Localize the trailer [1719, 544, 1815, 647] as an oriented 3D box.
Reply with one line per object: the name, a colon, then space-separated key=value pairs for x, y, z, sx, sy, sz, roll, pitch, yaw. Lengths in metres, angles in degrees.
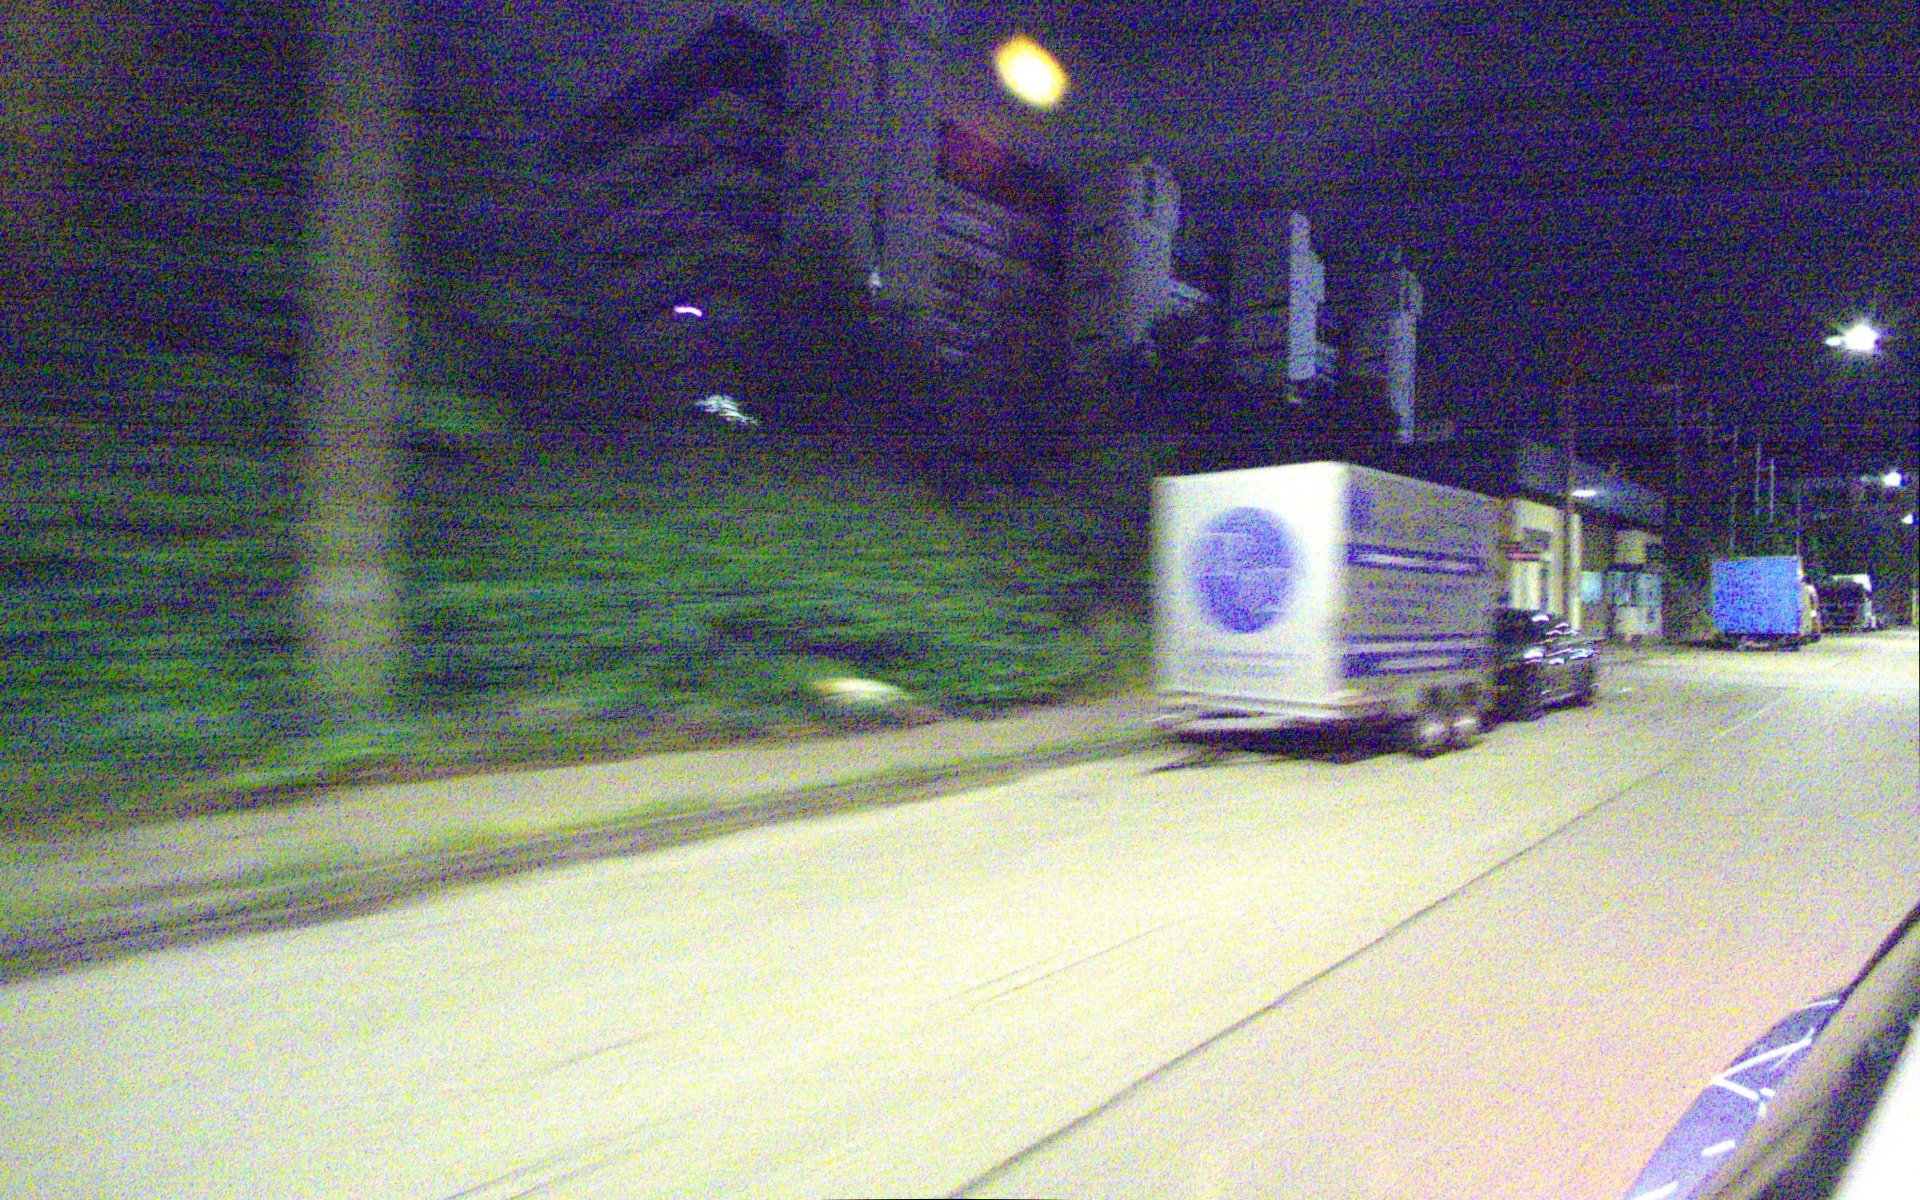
trailer: x=28.327 y=-0.136 z=35.483 sx=2.396 sy=3.368 sz=4.296 roll=0 pitch=0 yaw=42

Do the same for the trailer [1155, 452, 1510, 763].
trailer: x=4.081 y=0.066 z=10.814 sx=3.932 sy=2.685 sz=1.996 roll=0 pitch=0 yaw=-42

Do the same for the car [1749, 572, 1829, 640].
car: x=33.914 y=0.237 z=41.324 sx=1.941 sy=2.580 sz=6.538 roll=0 pitch=0 yaw=45

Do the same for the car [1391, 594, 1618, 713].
car: x=7.794 y=0.635 z=14.265 sx=1.726 sy=1.404 sz=4.603 roll=0 pitch=0 yaw=43

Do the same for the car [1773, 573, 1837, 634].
car: x=38.679 y=0.148 z=46.270 sx=1.993 sy=2.580 sz=5.932 roll=0 pitch=0 yaw=43

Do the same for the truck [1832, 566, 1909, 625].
truck: x=64.654 y=-0.304 z=71.748 sx=12.435 sy=3.886 sz=2.514 roll=0 pitch=0 yaw=-41
